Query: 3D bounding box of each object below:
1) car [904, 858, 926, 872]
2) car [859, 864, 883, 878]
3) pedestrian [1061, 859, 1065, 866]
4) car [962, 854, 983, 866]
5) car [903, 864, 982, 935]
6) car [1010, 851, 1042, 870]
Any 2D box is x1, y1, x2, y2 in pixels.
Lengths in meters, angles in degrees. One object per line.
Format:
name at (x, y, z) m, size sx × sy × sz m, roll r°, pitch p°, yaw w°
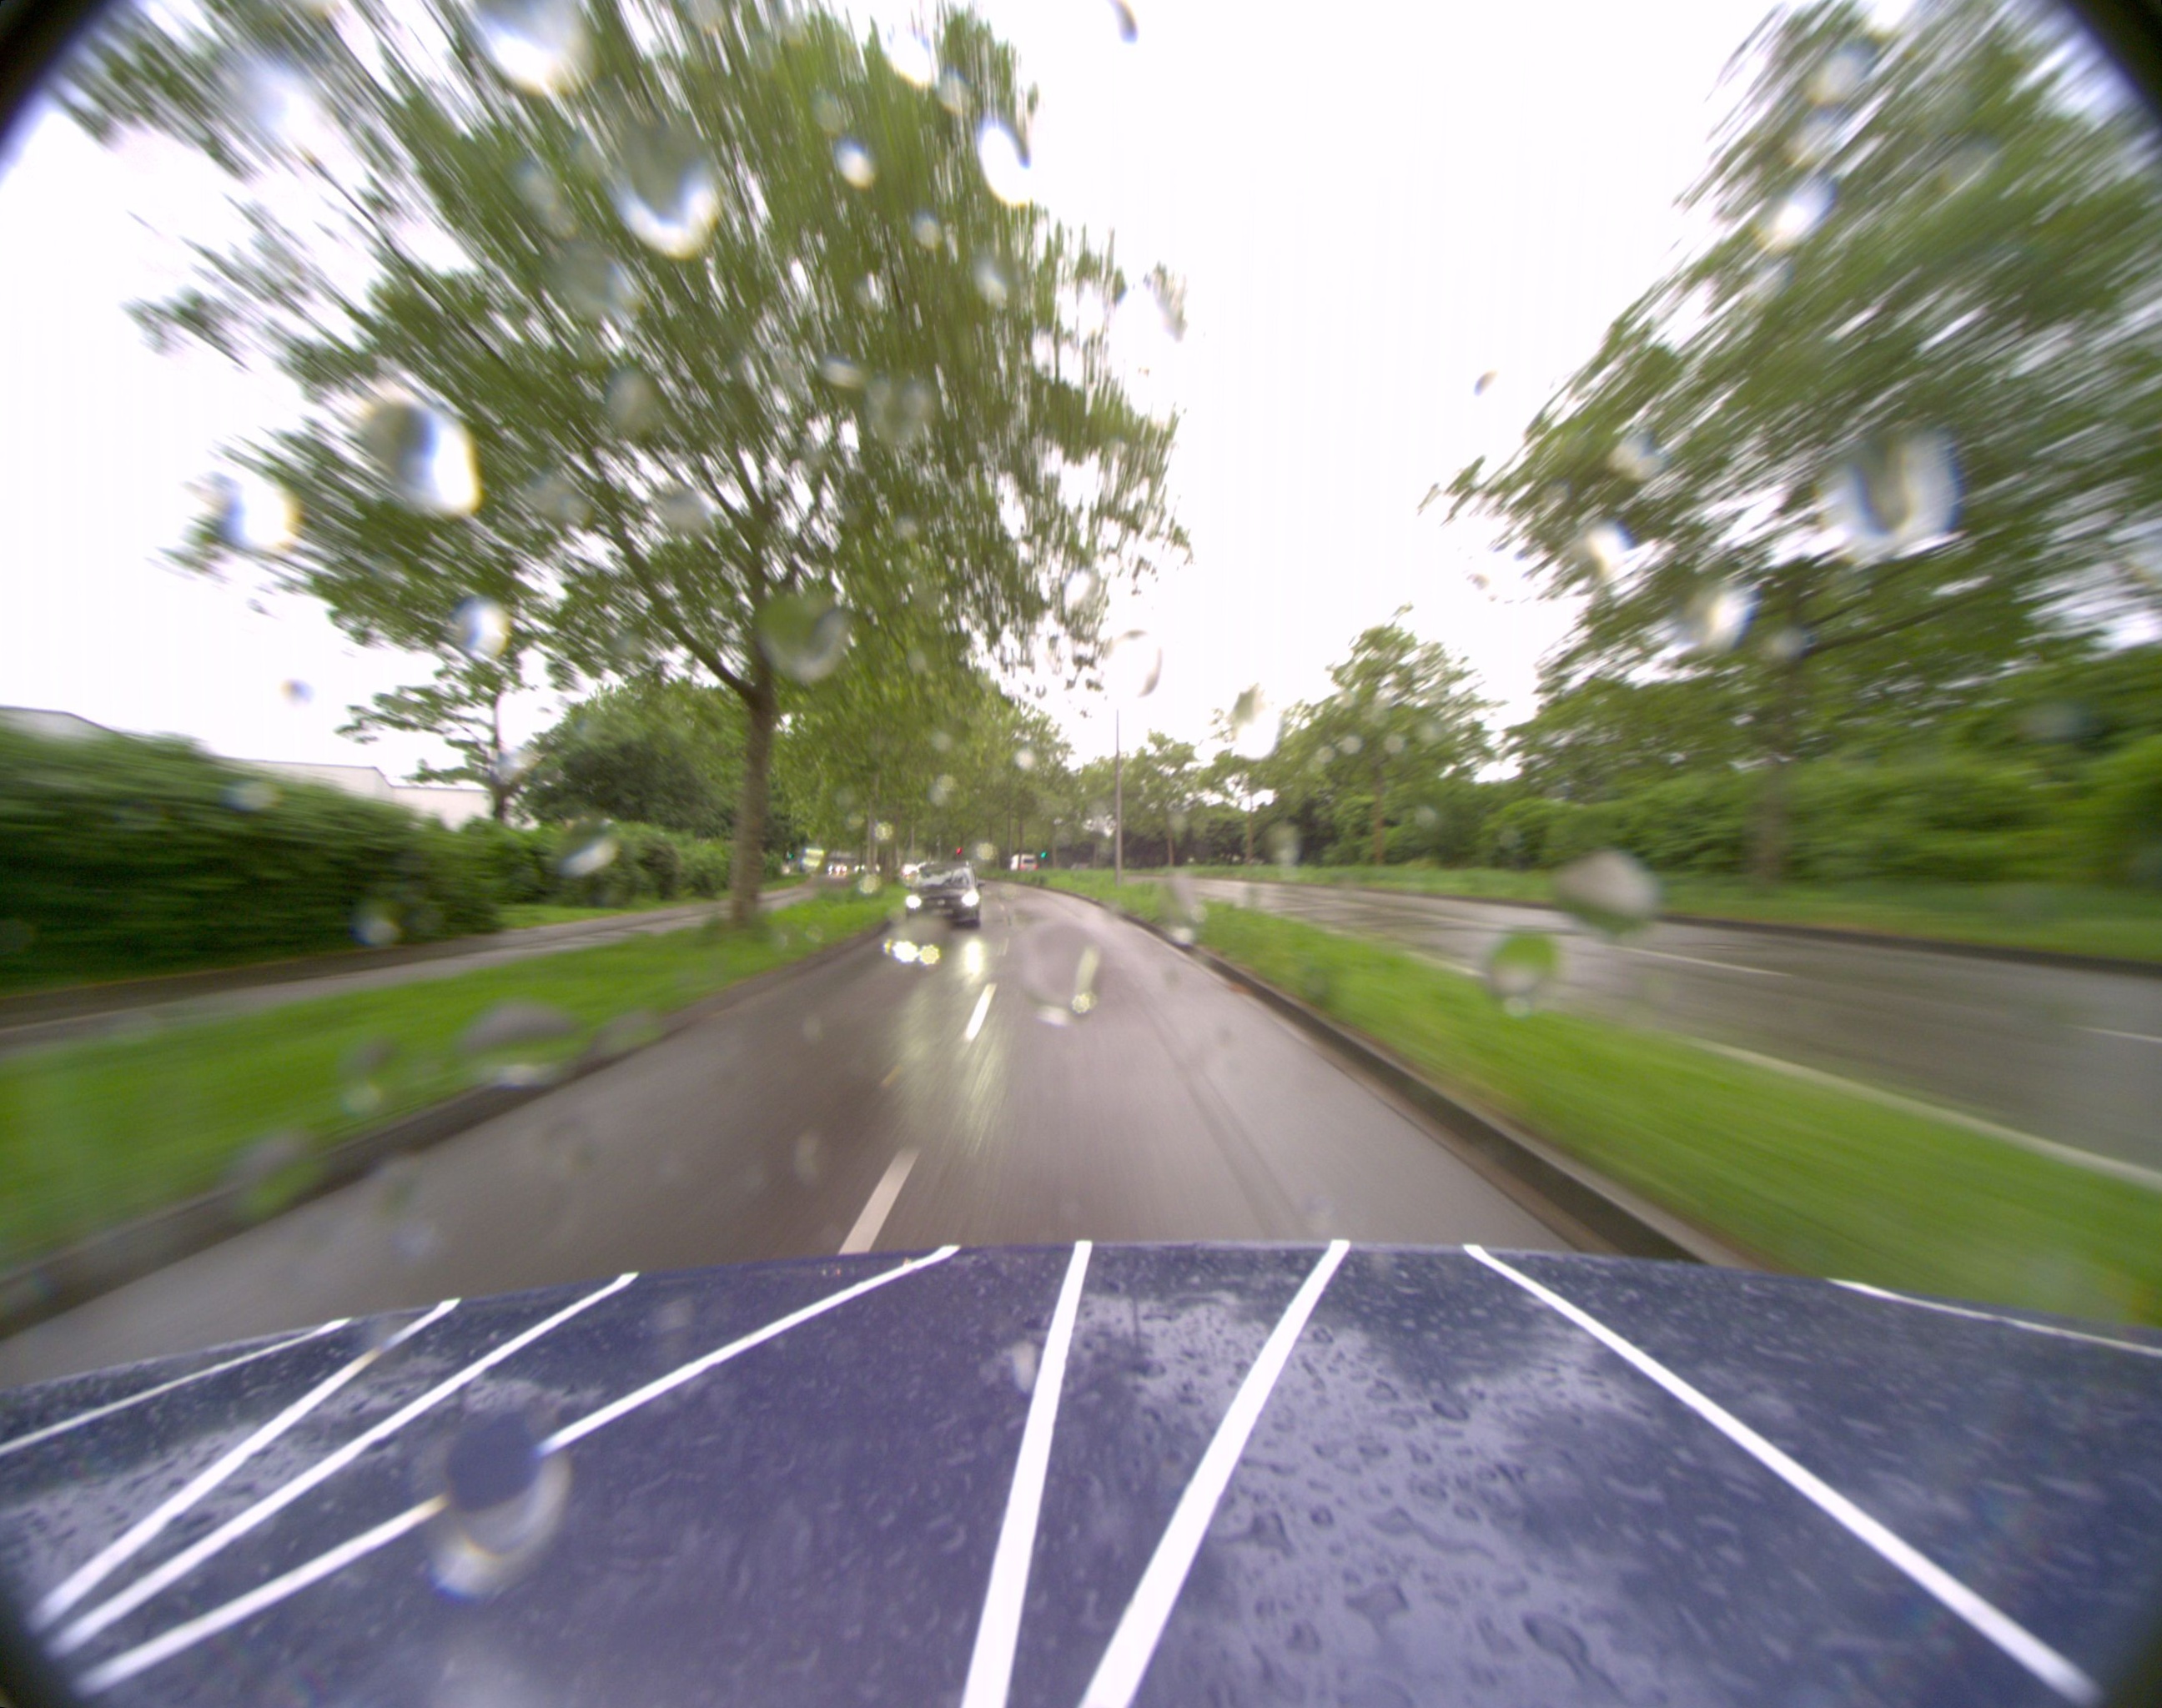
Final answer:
car at (-19.595, 1.319, 89.635) m, size 1.787 × 1.546 × 3.993 m, roll -1°, pitch -1°, yaw -23°
car at (-25.810, 2.079, 93.279) m, size 1.788 × 1.546 × 3.991 m, roll -1°, pitch -1°, yaw -30°
pedestrian at (-2.503, 1.215, 107.650) m, size 0.476 × 1.034 × 0.441 m, roll 0°, pitch 0°, yaw -17°
car at (-17.694, 0.965, 123.374) m, size 1.943 × 1.929 × 5.187 m, roll -1°, pitch 0°, yaw -25°
car at (-3.583, 1.099, 19.969) m, size 1.785 × 1.546 × 3.997 m, roll -3°, pitch 0°, yaw -9°
car at (-7.293, 0.852, 99.898) m, size 2.288 × 2.412 × 6.348 m, roll -1°, pitch 0°, yaw -22°
